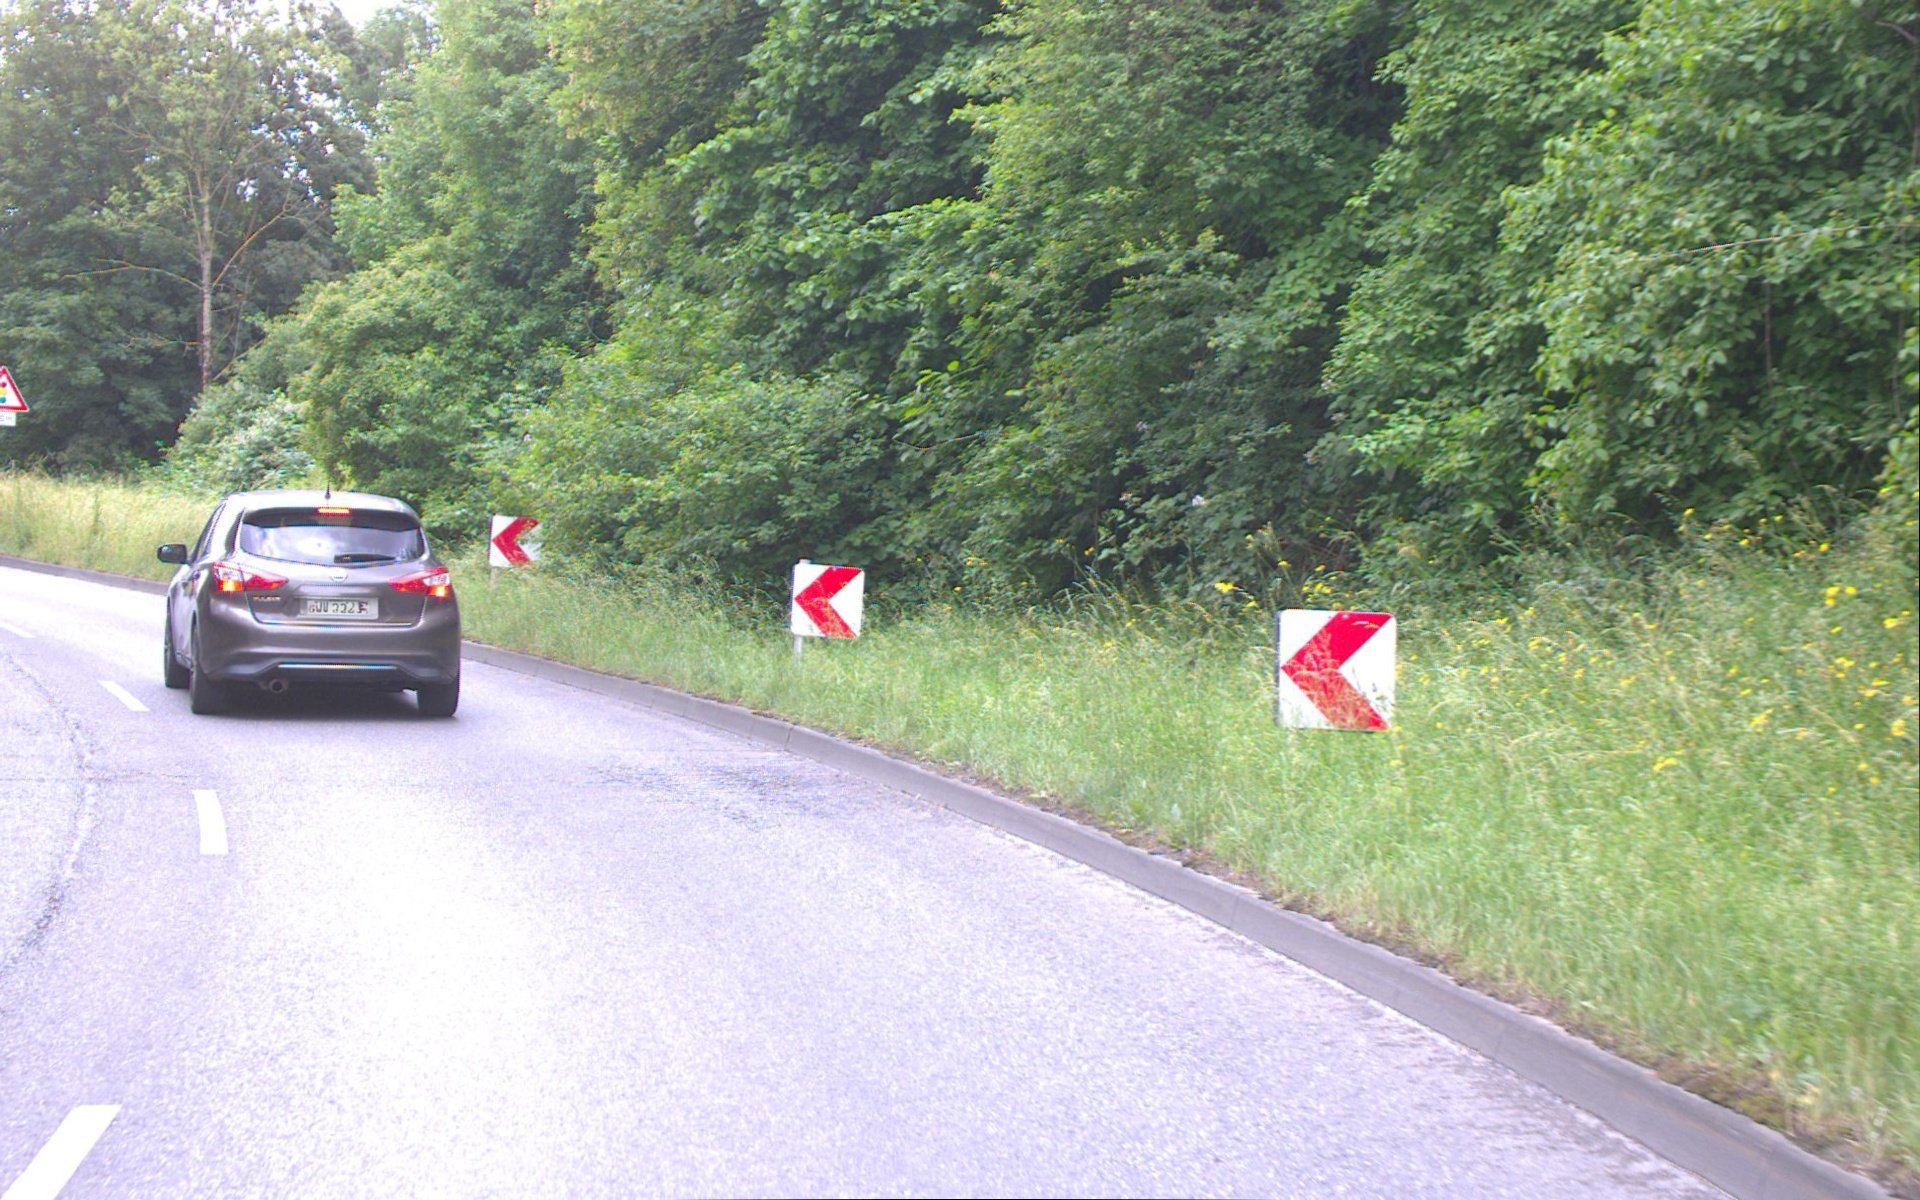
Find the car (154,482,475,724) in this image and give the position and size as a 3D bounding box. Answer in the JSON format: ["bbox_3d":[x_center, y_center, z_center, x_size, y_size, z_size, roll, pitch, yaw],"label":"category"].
[{"bbox_3d":[-4.639,-0.052,24.301,1.839,1.478,4.002,0,3,-16],"label":"car"}]
